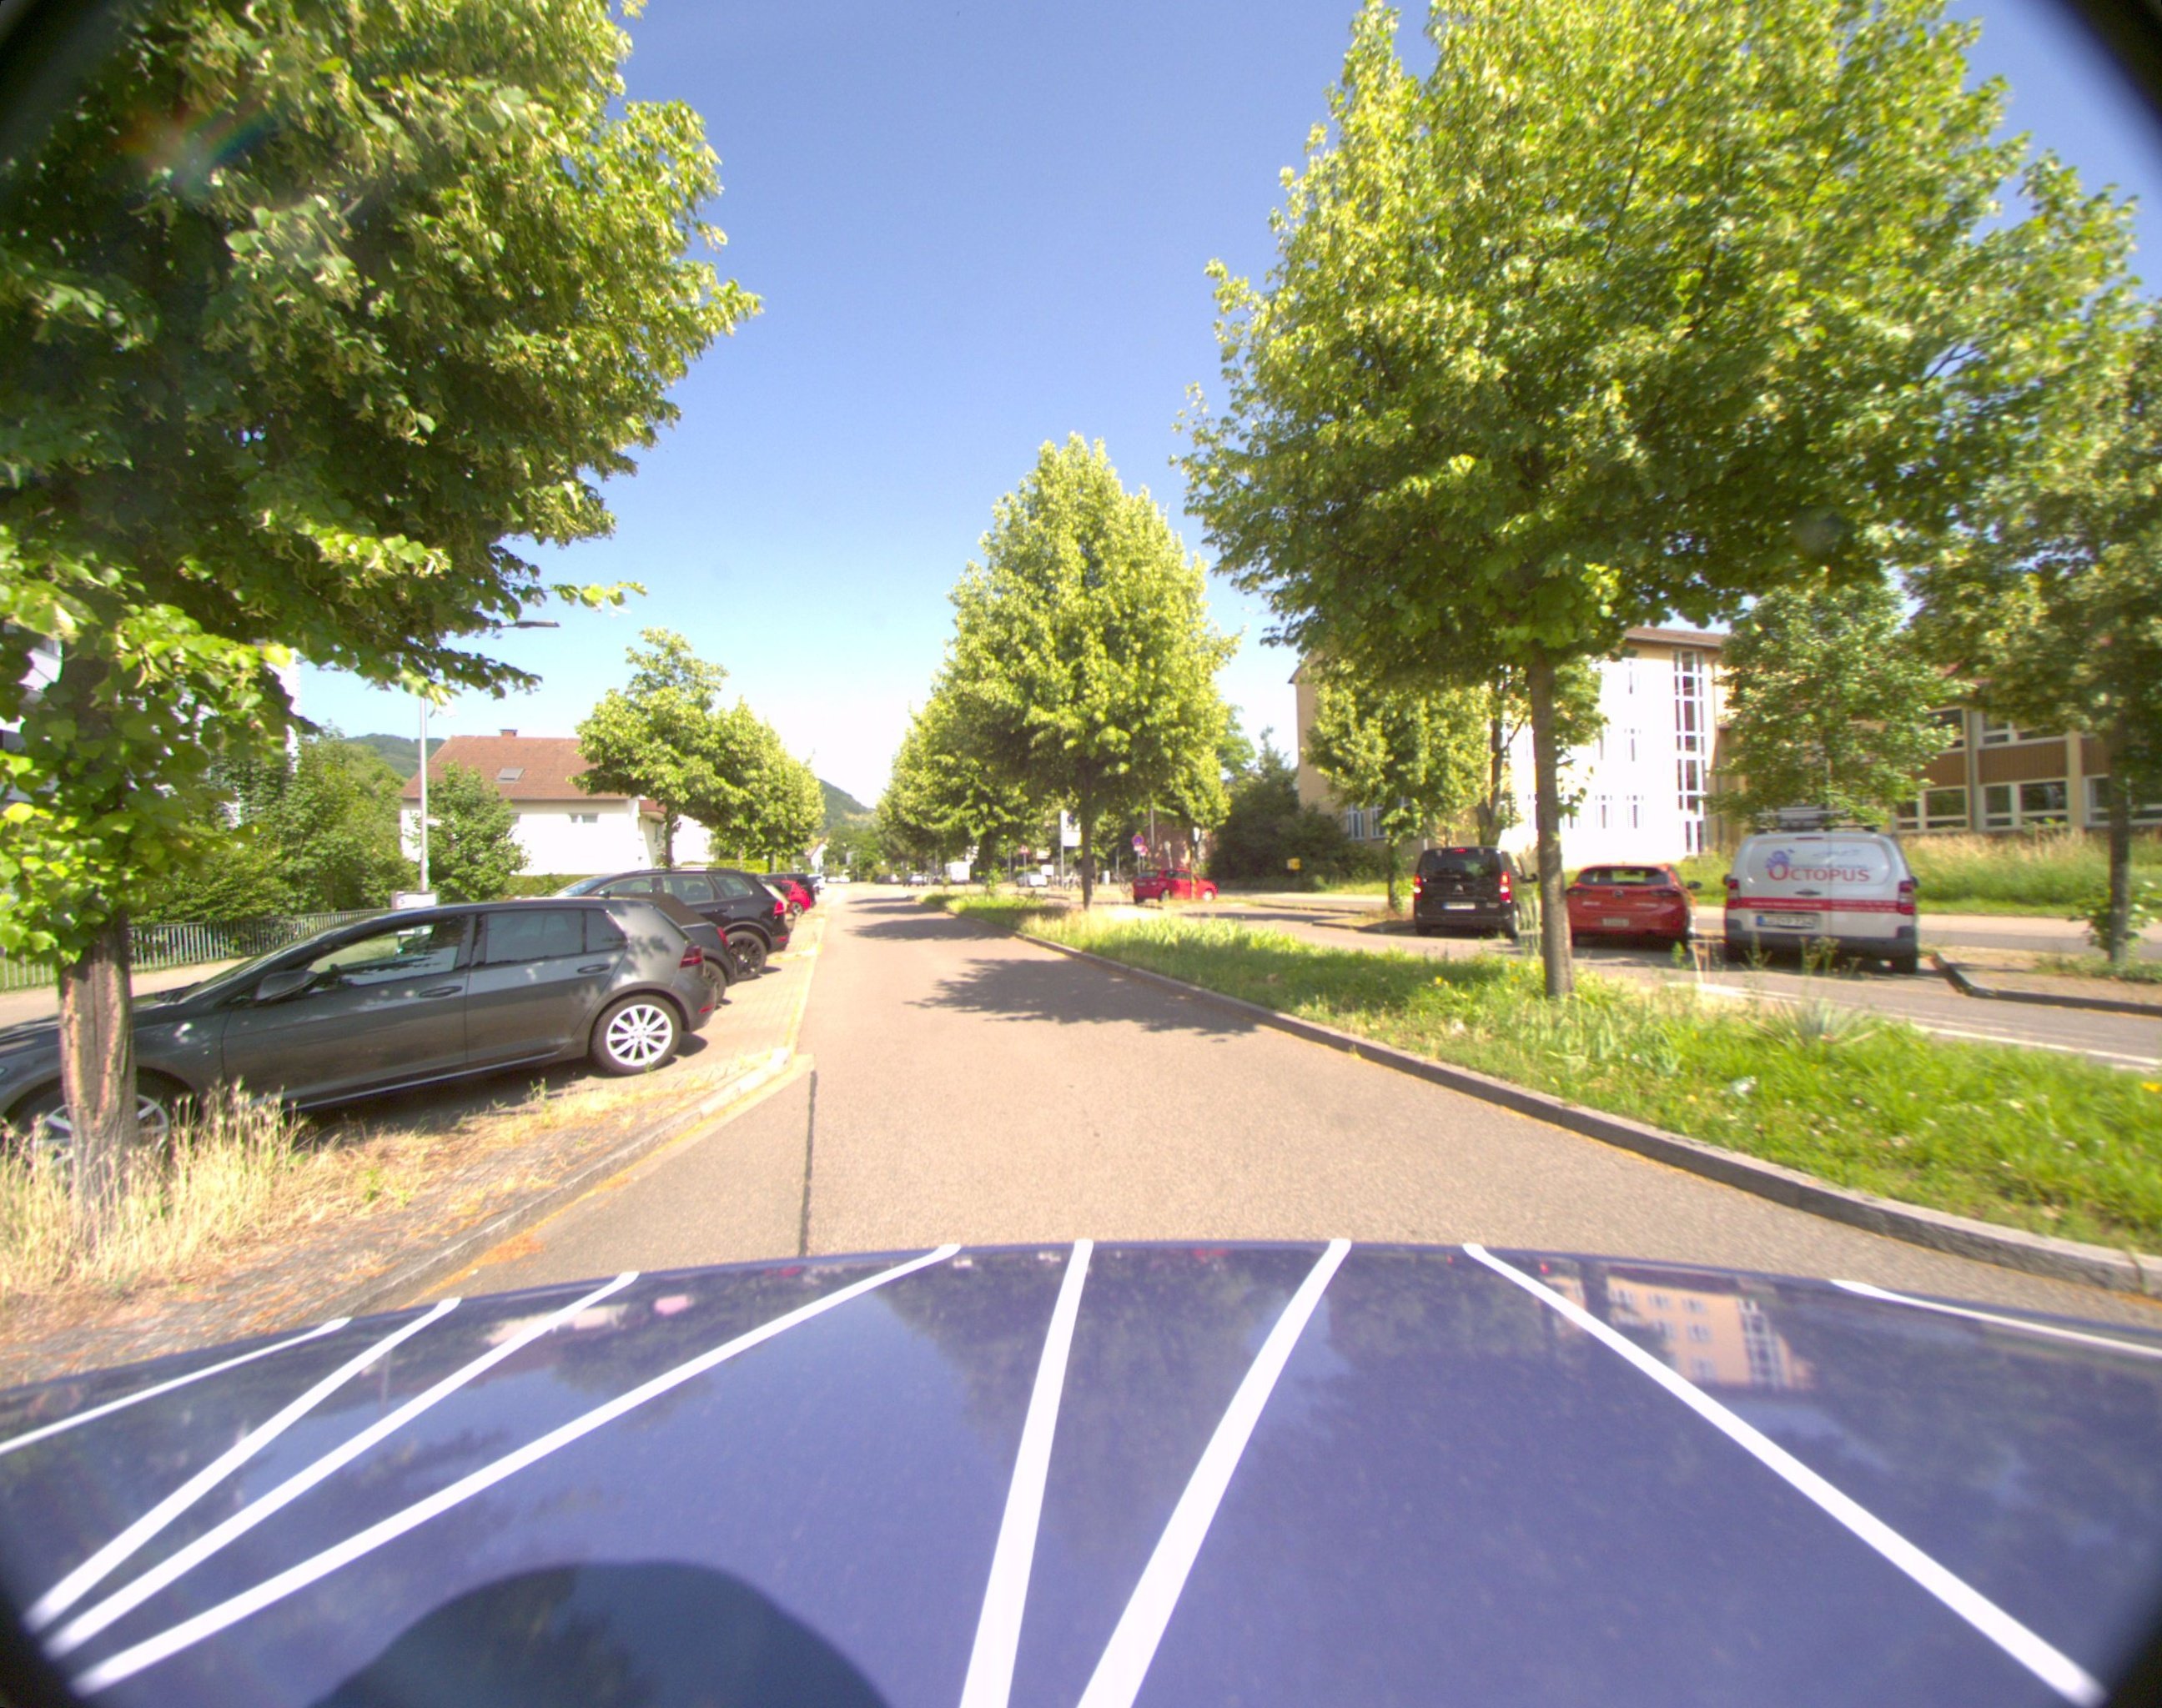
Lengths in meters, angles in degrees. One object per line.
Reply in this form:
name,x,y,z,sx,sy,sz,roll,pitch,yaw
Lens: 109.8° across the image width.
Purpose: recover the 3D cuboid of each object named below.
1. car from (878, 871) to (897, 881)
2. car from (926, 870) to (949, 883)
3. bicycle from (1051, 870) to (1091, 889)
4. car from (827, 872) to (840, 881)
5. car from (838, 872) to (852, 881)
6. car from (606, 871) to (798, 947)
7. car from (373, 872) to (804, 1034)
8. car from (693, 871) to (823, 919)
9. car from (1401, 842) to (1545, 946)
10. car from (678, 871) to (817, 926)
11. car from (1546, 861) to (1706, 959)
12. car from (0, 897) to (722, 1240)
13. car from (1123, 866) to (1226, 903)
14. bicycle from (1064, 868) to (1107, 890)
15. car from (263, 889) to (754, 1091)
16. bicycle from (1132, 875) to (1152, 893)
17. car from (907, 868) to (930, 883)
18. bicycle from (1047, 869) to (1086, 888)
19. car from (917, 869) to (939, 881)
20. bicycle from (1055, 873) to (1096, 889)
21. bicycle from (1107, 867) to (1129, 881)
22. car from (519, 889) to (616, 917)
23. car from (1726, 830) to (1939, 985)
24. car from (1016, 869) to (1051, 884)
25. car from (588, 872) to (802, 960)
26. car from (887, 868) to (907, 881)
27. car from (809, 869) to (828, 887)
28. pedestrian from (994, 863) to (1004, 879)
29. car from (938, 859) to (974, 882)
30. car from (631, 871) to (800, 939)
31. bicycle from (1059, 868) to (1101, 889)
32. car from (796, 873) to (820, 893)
car,-29.477,3.374,115.649,1.849,1.448,4.185,0,-2,-27
car,-17.256,2.702,91.141,1.728,1.549,3.993,0,-2,-25
bicycle,-0.637,1.672,50.661,2.555,1.231,0.738,0,-1,-20
car,-51.310,4.664,157.591,2.003,1.608,3.992,-1,-1,-26
car,-45.433,4.293,146.098,1.962,1.543,3.992,-2,-1,-26
car,-9.498,1.308,19.173,4.008,1.630,1.748,-1,-2,-39
car,-6.582,1.154,10.671,1.748,1.650,4.756,-2,-1,42
car,-12.517,1.553,29.643,2.039,1.630,4.129,-2,-1,39
car,8.087,0.746,15.464,1.999,1.805,4.198,-2,-2,35
car,-11.526,1.489,26.498,1.875,1.630,4.008,-1,0,34
car,9.553,0.872,13.205,1.851,1.419,3.783,-3,-2,41
car,-5.184,1.193,5.574,1.995,1.521,4.126,-2,-1,43
car,3.907,1.236,31.637,4.008,1.457,1.995,1,-2,-38
bicycle,0.297,1.563,47.247,2.555,1.249,0.738,-1,-1,-20
car,-5.987,1.220,8.323,1.764,1.465,4.008,-2,-1,43
bicycle,3.212,1.554,39.905,0.523,0.898,1.268,0,-1,-22
car,-17.833,2.321,83.158,1.749,1.538,4.066,0,-1,-22
bicycle,-0.974,1.665,51.692,2.555,1.248,0.738,0,-1,-20
car,-19.286,2.657,95.624,1.728,1.549,4.664,0,-2,-25
bicycle,-0.361,1.738,49.590,2.555,0.981,0.738,0,-2,-20
bicycle,2.966,1.625,61.504,1.712,1.074,0.378,-2,-1,23
car,-28.670,2.738,42.575,4.132,1.389,1.809,-1,-4,-17
car,10.334,0.615,10.685,1.814,1.761,3.782,-2,0,41
car,-4.210,2.022,66.606,1.728,1.259,3.993,0,-2,-25
car,-8.463,1.285,16.858,4.006,1.630,1.749,-1,-1,-29
car,-26.888,3.016,110.905,1.849,1.753,4.577,0,-2,-27
car,-29.350,2.636,84.885,1.769,1.816,4.591,-4,1,-20
pedestrian,-8.985,1.836,83.215,0.978,1.769,0.724,-1,0,-21
car,-14.130,1.908,85.716,2.099,2.481,5.940,0,-2,-29
car,-10.304,1.371,21.504,4.007,1.630,1.796,-1,-1,-36
bicycle,-0.066,1.552,48.321,2.526,1.248,0.738,0,-1,-20
car,-21.704,2.288,60.497,1.623,1.382,3.994,-3,0,-18
